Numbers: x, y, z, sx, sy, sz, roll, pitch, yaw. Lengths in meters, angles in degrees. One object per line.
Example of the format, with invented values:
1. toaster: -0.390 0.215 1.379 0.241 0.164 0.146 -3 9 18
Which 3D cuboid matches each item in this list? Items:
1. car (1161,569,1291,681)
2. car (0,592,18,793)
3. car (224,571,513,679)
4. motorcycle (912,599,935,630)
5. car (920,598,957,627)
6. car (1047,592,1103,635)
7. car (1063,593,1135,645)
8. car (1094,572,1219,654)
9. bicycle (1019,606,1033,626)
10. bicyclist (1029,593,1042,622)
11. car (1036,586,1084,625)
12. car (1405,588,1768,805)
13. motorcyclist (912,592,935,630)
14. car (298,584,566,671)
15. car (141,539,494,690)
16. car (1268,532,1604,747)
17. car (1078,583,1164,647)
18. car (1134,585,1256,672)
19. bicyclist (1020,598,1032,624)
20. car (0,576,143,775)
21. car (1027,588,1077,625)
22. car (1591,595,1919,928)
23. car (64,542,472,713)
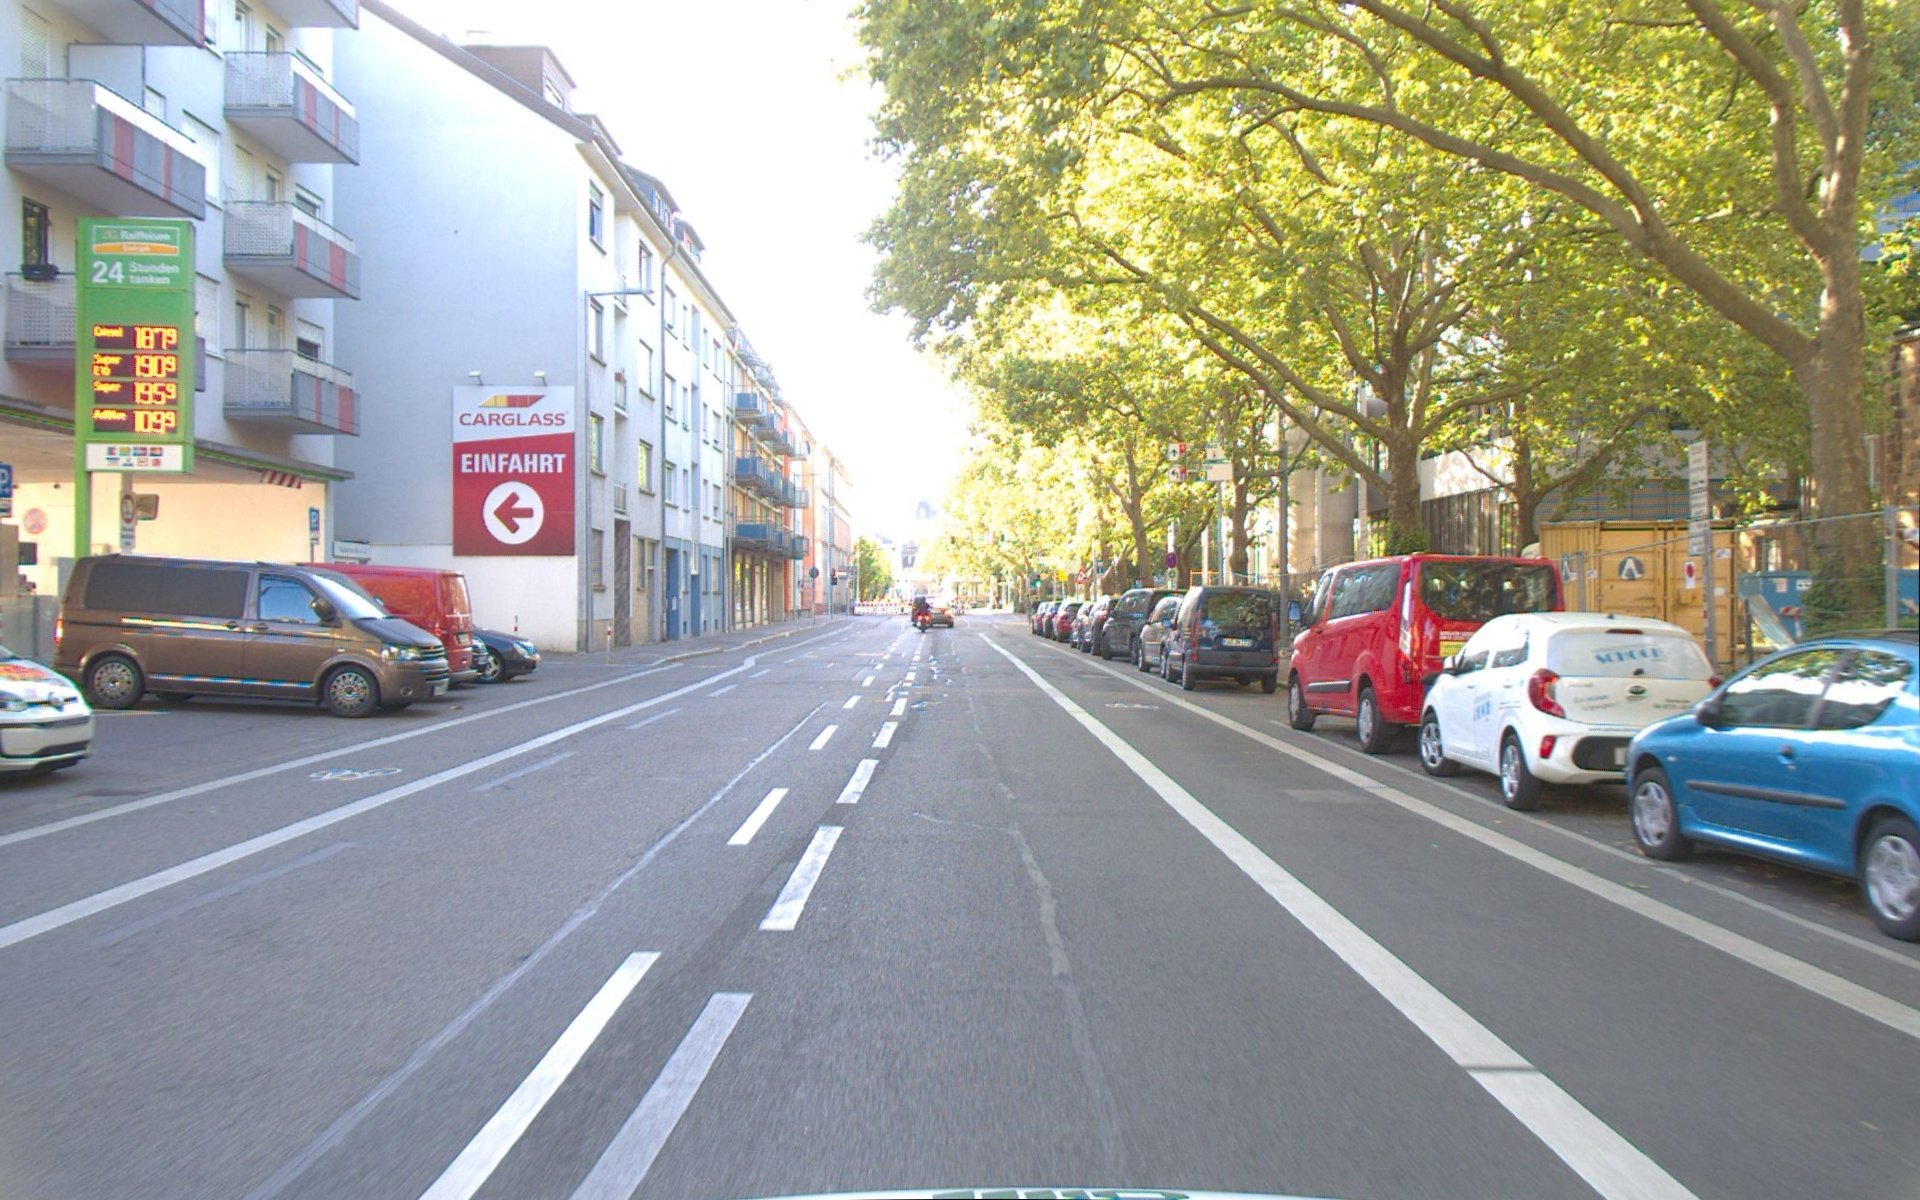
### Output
1. car: 4.731 0.444 29.939 1.658 1.844 4.130 2 -1 0
2. car: -8.982 0.644 11.337 3.906 1.481 1.915 1 -1 -1
3. car: -9.795 0.408 27.637 4.088 1.591 1.886 2 -1 -1
4. motorcycle: -1.629 0.649 72.993 0.992 1.329 2.671 -1 -1 -2
5. car: -1.113 0.622 84.257 1.791 1.445 3.813 0 -1 -2
6. car: 4.203 0.502 61.006 1.658 1.505 4.317 2 -1 -1
7. car: 4.306 0.588 51.716 1.659 1.530 4.017 2 -1 -3
8. car: 4.808 0.312 41.206 1.791 1.873 4.889 2 -1 -9
9. bicycle: 3.916 0.944 97.826 0.643 1.131 2.184 1 -1 -2
10. bicyclist: 4.073 0.413 89.434 0.643 1.557 0.851 1 -1 -2
11. car: 4.006 0.228 66.567 1.658 1.492 4.065 2 -1 0
12. car: 5.017 0.706 13.783 1.604 1.511 3.759 2 0 1
13. motorcyclist: -1.633 0.481 73.002 0.992 1.630 1.405 -1 -1 -2
14. car: -9.474 0.499 29.947 4.143 1.404 2.045 1 -1 -1
15. car: -9.427 0.216 24.576 4.331 1.986 2.145 2 -1 -1
16. car: 5.100 0.405 18.603 2.036 2.029 5.168 2 -1 -3
17. car: 4.462 0.425 46.454 1.740 1.656 4.618 2 -1 -2
18. car: 4.822 0.570 34.480 1.659 1.656 4.327 2 -1 -3
19. bicyclist: 3.920 0.649 97.902 0.643 1.557 0.906 1 -1 -2
20. car: -9.068 0.545 13.720 3.611 1.540 1.830 2 -1 -1
21. car: 3.943 0.280 71.379 1.659 1.475 4.433 2 -1 -3
22. car: 5.274 0.780 9.188 1.818 1.537 3.926 2 0 -4
23. car: -8.998 0.349 21.832 4.431 1.986 2.056 2 -1 -1
